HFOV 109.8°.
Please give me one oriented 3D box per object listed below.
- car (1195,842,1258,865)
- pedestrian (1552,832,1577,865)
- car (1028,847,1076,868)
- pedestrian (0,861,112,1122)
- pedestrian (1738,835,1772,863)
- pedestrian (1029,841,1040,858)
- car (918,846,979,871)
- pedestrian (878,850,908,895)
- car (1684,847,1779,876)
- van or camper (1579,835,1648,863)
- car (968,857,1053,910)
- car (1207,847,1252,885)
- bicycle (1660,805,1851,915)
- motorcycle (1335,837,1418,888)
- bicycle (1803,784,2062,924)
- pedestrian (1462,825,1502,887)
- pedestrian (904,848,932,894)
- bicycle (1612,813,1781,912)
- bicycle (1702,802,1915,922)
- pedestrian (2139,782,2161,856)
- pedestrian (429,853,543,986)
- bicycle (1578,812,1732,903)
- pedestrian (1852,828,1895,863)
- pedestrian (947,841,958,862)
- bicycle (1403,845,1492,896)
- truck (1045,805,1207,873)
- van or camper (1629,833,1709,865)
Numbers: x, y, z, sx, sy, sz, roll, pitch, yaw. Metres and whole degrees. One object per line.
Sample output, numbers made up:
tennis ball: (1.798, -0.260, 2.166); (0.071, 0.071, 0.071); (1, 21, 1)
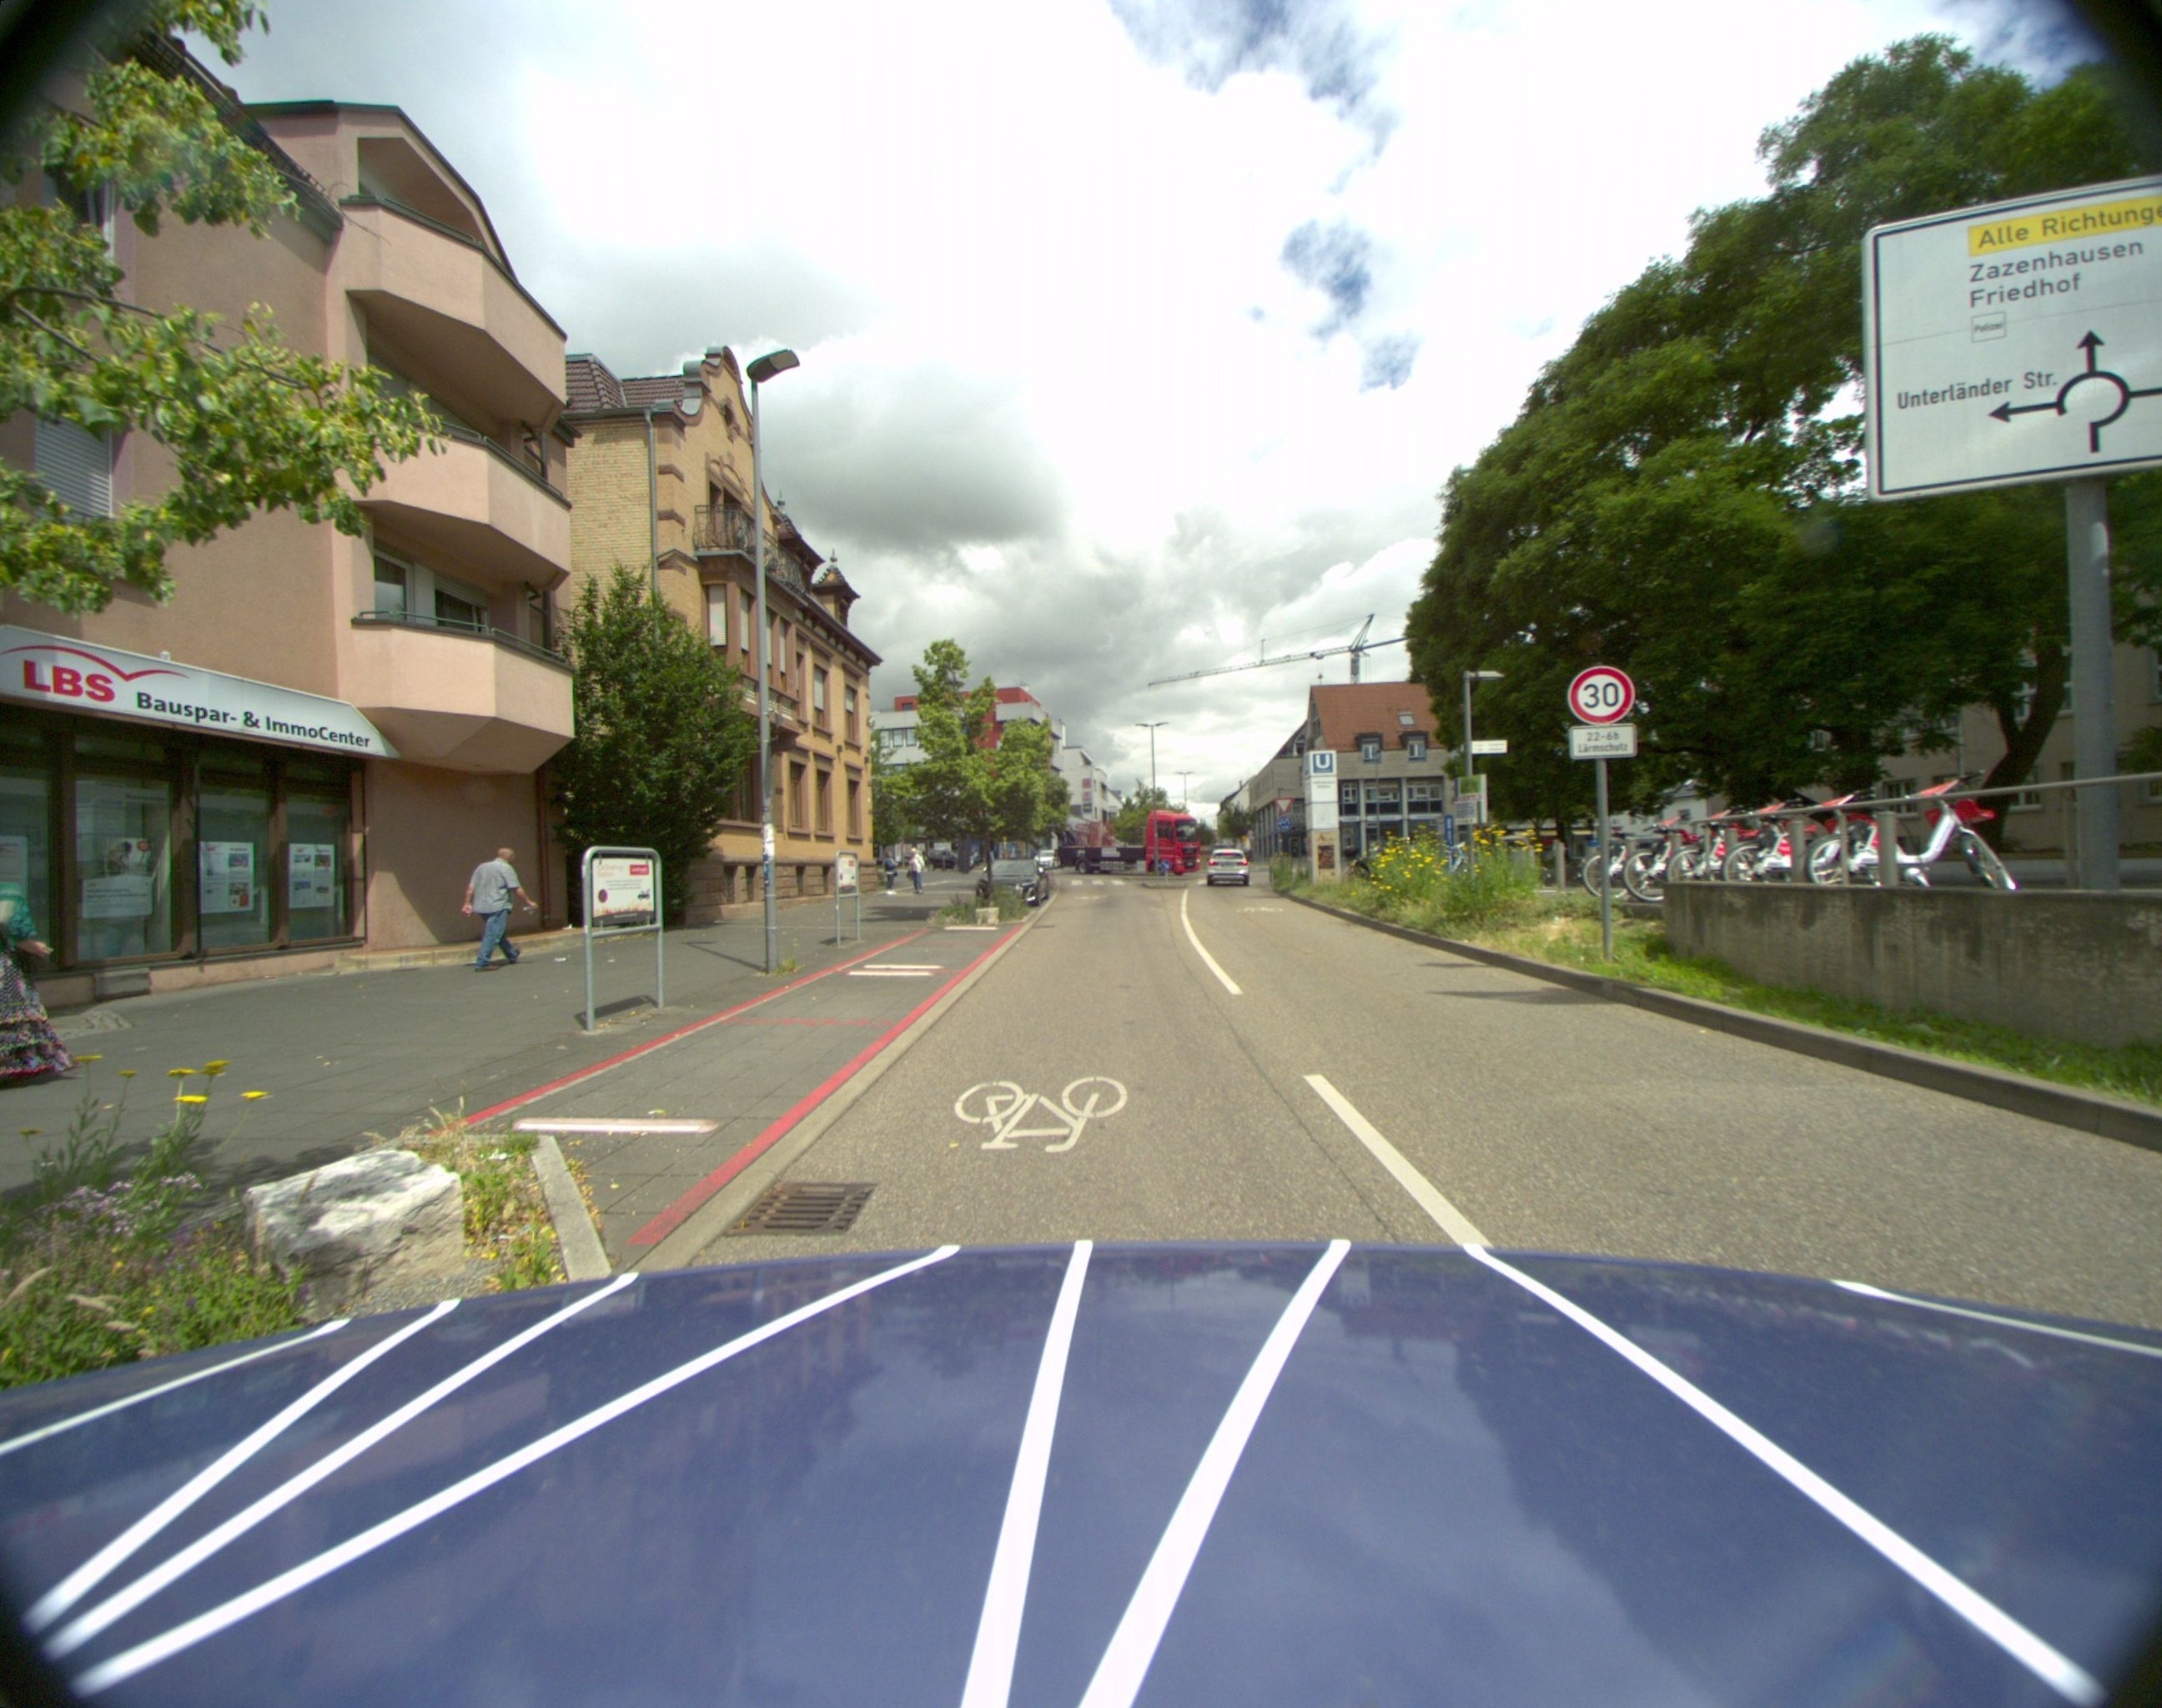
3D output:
car: (12.126, -0.032, 63.428); (4.878, 1.644, 1.750); (-2, 2, 37)
pedestrian: (25.137, -0.280, 39.526); (0.690, 1.665, 0.817); (-2, -1, -1)
car: (-2.188, 0.261, 58.078); (1.812, 1.391, 4.059); (-2, 2, 27)
pedestrian: (-7.124, 0.860, 4.824); (0.746, 1.629, 0.927); (0, 0, 1)
pedestrian: (28.917, -0.203, 32.596); (0.817, 1.168, 0.691); (-2, -1, -2)
pedestrian: (-4.306, -0.427, 70.384); (0.684, 1.585, 0.767); (-2, 2, 11)
car: (-9.979, 0.314, 57.397); (3.994, 1.641, 2.001); (-3, 0, 8)
pedestrian: (-6.995, 0.674, 28.314); (0.738, 1.630, 0.676); (-2, 2, 27)
car: (39.754, 0.463, 46.495); (4.069, 1.530, 1.747); (-3, 2, 10)
van or camper: (47.543, -0.410, 67.984); (2.002, 2.368, 4.667); (-2, 0, -22)
car: (-2.093, 0.857, 23.984); (1.998, 1.405, 4.736); (-1, 1, 3)
car: (6.619, 0.484, 33.911); (1.825, 1.575, 4.168); (0, 1, 11)
bicycle: (7.294, 0.067, 8.258); (1.550, 1.121, 0.533); (-1, 0, 3)
motorcycle: (8.832, 0.250, 22.751); (2.194, 1.441, 0.648); (-1, 2, 1)
bicycle: (7.230, 0.004, 6.497); (1.550, 1.121, 0.533); (-1, 0, 3)
pedestrian: (10.776, 0.056, 20.443); (0.661, 1.619, 0.800); (-2, -1, 10)
pedestrian: (-6.118, 0.629, 28.591); (0.697, 1.649, 0.741); (-2, 2, 14)
bicycle: (7.353, 0.099, 9.123); (1.550, 1.121, 0.533); (-1, 0, 3)
bicycle: (7.198, 0.082, 7.559); (1.550, 1.121, 0.533); (-1, 0, 3)
pedestrian: (27.327, -0.889, 18.938); (0.661, 1.839, 0.830); (-2, -1, 3)
pedestrian: (-7.891, 0.833, 10.122); (0.718, 1.676, 0.944); (-1, 2, -1)
bicycle: (7.443, 0.046, 9.894); (1.550, 1.121, 0.533); (-1, 0, 3)
pedestrian: (29.040, -0.303, 27.840); (0.817, 1.219, 0.691); (-2, -1, -2)
pedestrian: (-11.924, -0.235, 70.764); (0.684, 1.902, 0.767); (-2, 2, 11)
bicycle: (8.122, 0.366, 16.860); (1.690, 1.075, 0.515); (-2, -1, -2)
truck: (2.542, -0.822, 47.633); (10.818, 3.821, 2.687); (-2, 2, 44)
van or camper: (46.986, -0.354, 60.831); (2.002, 2.368, 4.667); (-2, 0, -22)
